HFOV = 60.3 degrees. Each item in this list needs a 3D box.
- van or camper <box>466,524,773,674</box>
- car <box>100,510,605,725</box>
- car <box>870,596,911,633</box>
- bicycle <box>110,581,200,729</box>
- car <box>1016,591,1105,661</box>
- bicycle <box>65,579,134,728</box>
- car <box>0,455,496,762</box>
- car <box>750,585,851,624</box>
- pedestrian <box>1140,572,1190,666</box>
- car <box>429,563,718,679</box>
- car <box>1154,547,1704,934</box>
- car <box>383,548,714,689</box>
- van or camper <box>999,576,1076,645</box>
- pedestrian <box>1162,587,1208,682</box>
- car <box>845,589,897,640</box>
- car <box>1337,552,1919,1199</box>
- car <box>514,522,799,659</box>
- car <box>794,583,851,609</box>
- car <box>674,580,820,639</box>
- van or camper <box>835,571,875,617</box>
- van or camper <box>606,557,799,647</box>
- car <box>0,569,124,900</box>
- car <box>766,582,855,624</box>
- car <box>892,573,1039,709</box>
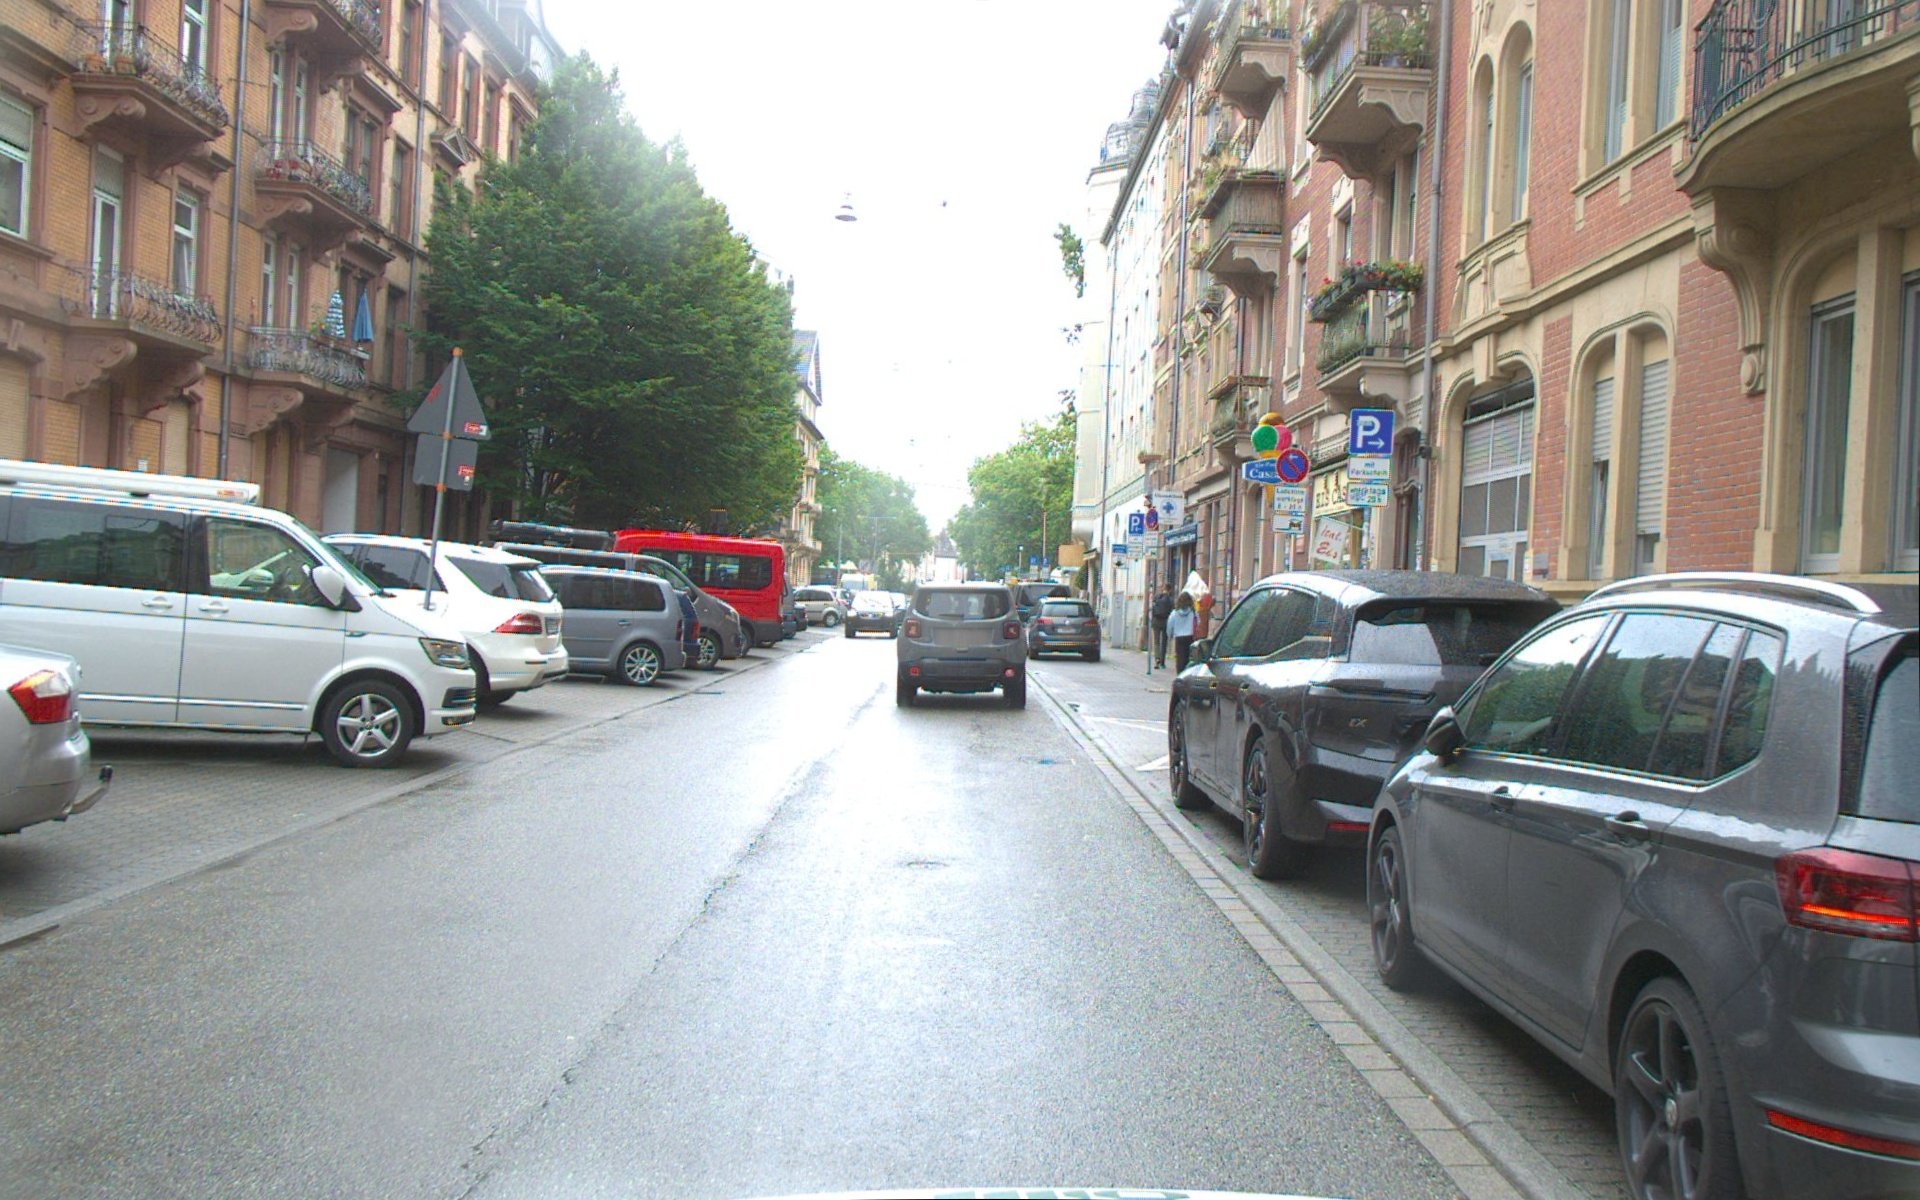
[{"bbox_3d":[-6.141,-0.002,29.870,4.949,2.390,2.325,3,0,-27],"label":"van or camper"},{"bbox_3d":[-6.490,0.174,18.216,4.487,1.816,2.545,5,0,-1],"label":"car"},{"bbox_3d":[-2.960,0.591,70.625,1.636,1.491,4.002,2,0,-1],"label":"car"},{"bbox_3d":[-7.257,0.464,14.870,0.537,1.195,2.024,3,0,-30],"label":"bicycle"},{"bbox_3d":[2.406,0.593,40.501,1.804,1.572,4.002,2,0,-1],"label":"car"},{"bbox_3d":[-7.667,0.441,14.699,0.402,1.195,2.024,3,0,-30],"label":"bicycle"},{"bbox_3d":[-6.402,0.070,12.714,5.169,2.114,1.855,3,-1,-25],"label":"car"},{"bbox_3d":[-6.331,0.182,65.897,3.672,1.477,1.664,1,0,-36],"label":"car"},{"bbox_3d":[4.504,0.422,36.310,0.667,1.968,0.807,1,-7,35],"label":"pedestrian"},{"bbox_3d":[-6.282,0.338,26.896,4.284,1.530,1.743,4,0,-23],"label":"car"},{"bbox_3d":[2.554,0.679,10.399,1.953,1.810,4.825,2,0,-1],"label":"car"},{"bbox_3d":[-6.068,0.285,24.447,4.378,1.658,1.829,5,0,-27],"label":"car"},{"bbox_3d":[2.284,0.291,49.939,1.980,1.924,5.054,1,0,-1],"label":"van or camper"},{"bbox_3d":[3.991,0.608,29.405,0.665,1.642,0.810,1,0,0],"label":"pedestrian"},{"bbox_3d":[-2.974,0.463,55.707,1.636,1.586,4.001,2,0,-3],"label":"car"},{"bbox_3d":[2.612,0.716,5.272,1.833,1.589,4.345,1,0,0],"label":"car"},{"bbox_3d":[-6.422,-0.174,35.144,5.492,2.585,2.209,3,0,-28],"label":"car"},{"bbox_3d":[-9.834,-0.275,118.281,3.625,1.586,1.776,4,-1,-37],"label":"car"},{"bbox_3d":[-6.305,0.284,49.095,3.942,1.472,1.742,4,0,-41],"label":"car"},{"bbox_3d":[-6.458,-0.297,102.561,2.078,2.575,6.873,-1,-2,-1],"label":"van or camper"},{"bbox_3d":[-6.420,0.060,41.377,4.394,2.009,1.761,3,0,-34],"label":"van or camper"},{"bbox_3d":[-6.002,0.521,7.400,3.943,1.461,1.767,3,0,-29],"label":"car"},{"bbox_3d":[-6.207,0.123,68.779,3.345,1.683,1.615,1,0,-34],"label":"car"},{"bbox_3d":[0.022,0.526,23.645,1.860,1.700,4.504,2,0,-1],"label":"car"}]
